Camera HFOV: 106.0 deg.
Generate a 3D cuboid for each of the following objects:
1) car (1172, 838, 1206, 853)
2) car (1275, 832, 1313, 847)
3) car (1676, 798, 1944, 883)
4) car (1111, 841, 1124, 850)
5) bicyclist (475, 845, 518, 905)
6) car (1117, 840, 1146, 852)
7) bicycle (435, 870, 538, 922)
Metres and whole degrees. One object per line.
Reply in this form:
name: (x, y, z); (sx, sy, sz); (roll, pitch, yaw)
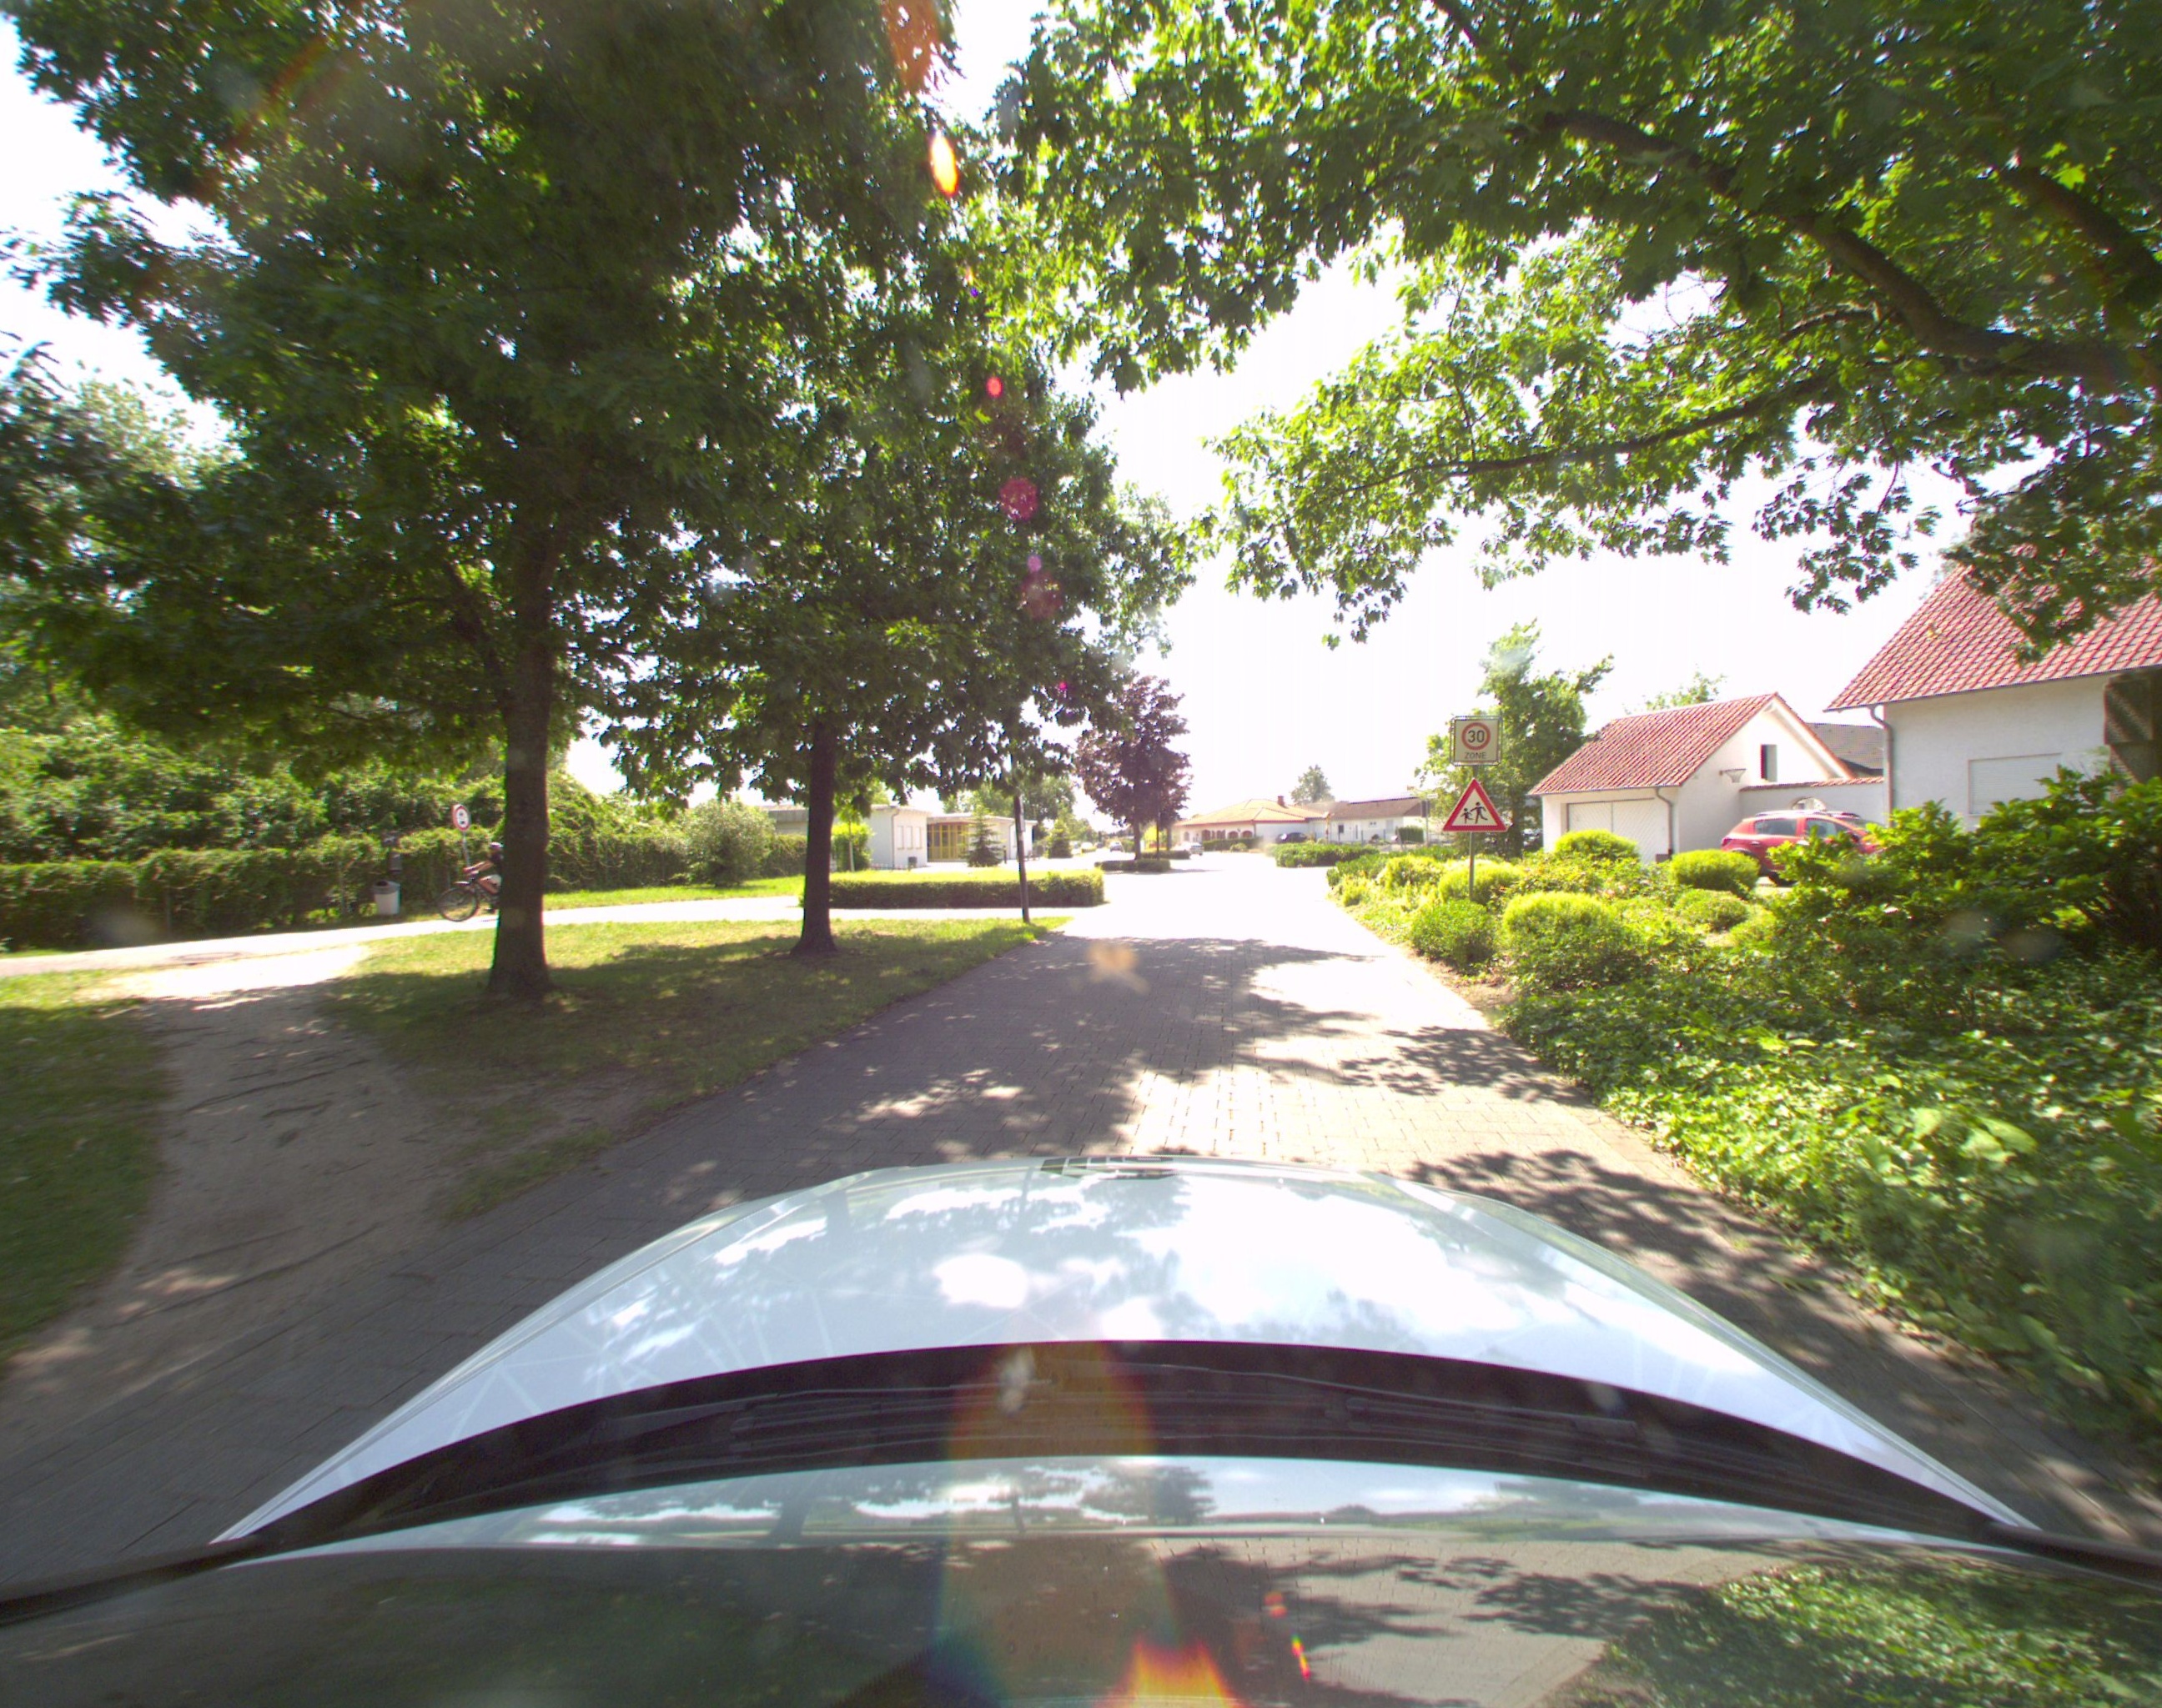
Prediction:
car: (9.918, -0.762, 75.206); (1.620, 1.288, 3.533); (-2, 1, -20)
car: (23.105, -1.602, 88.231); (3.851, 1.542, 1.835); (-2, 1, -34)
car: (15.418, -0.288, 17.514); (1.666, 1.601, 4.001); (-2, 1, -19)
car: (4.952, -1.170, 111.369); (1.608, 1.288, 3.558); (-1, 1, 1)
bicyclist: (-11.785, 0.412, 16.435); (0.651, 1.164, 0.592); (-2, 1, -34)
car: (6.041, -0.943, 97.463); (2.000, 1.288, 3.973); (-2, 1, -20)
bicycle: (-11.897, 0.825, 16.354); (1.627, 0.929, 0.592); (-2, 1, -34)
